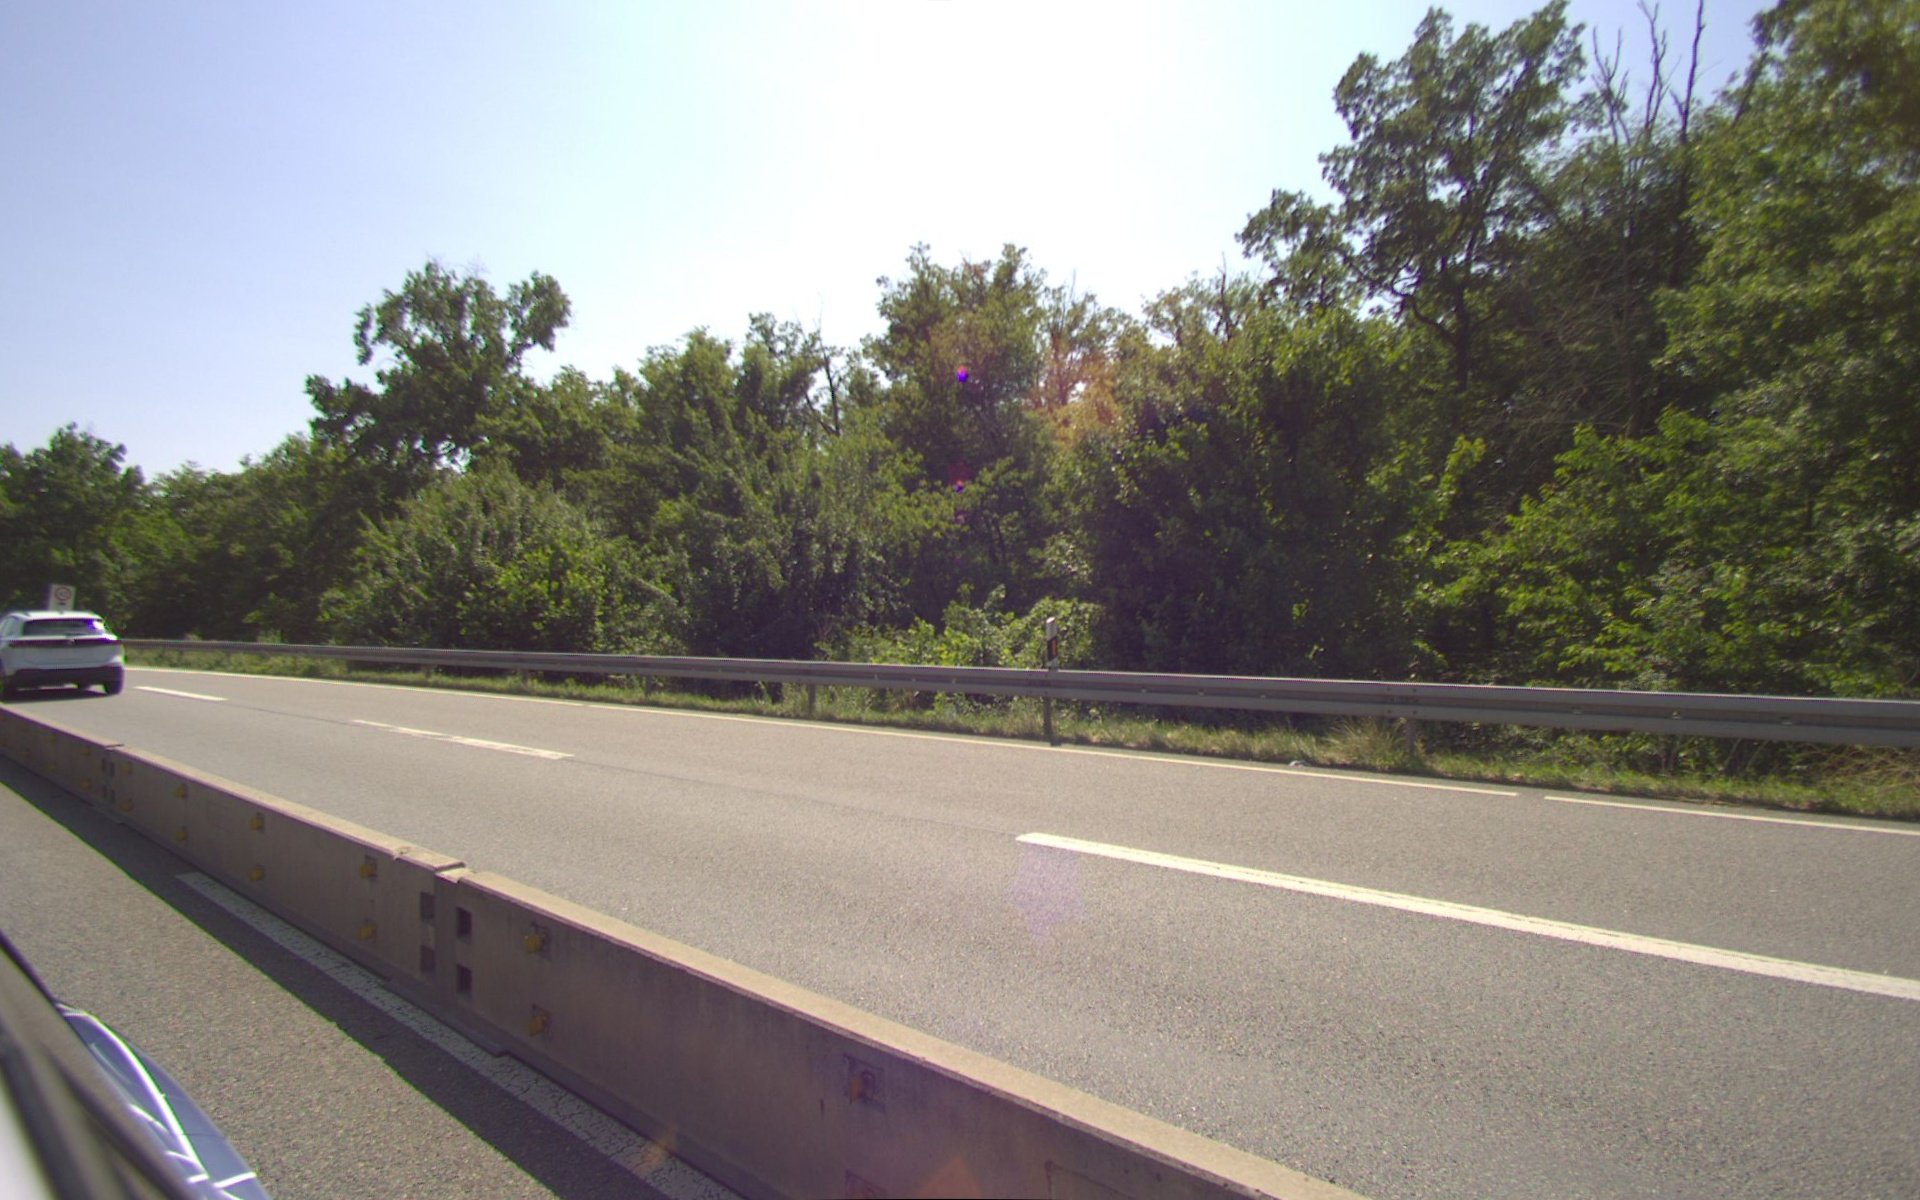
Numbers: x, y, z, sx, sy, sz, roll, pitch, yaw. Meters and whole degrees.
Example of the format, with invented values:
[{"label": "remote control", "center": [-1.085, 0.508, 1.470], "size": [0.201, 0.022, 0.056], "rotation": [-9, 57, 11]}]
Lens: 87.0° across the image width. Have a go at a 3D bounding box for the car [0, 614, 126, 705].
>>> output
[{"label": "car", "center": [-18.174, 1.103, 20.050], "size": [4.319, 1.613, 1.829], "rotation": [-1, -1, 41]}]
